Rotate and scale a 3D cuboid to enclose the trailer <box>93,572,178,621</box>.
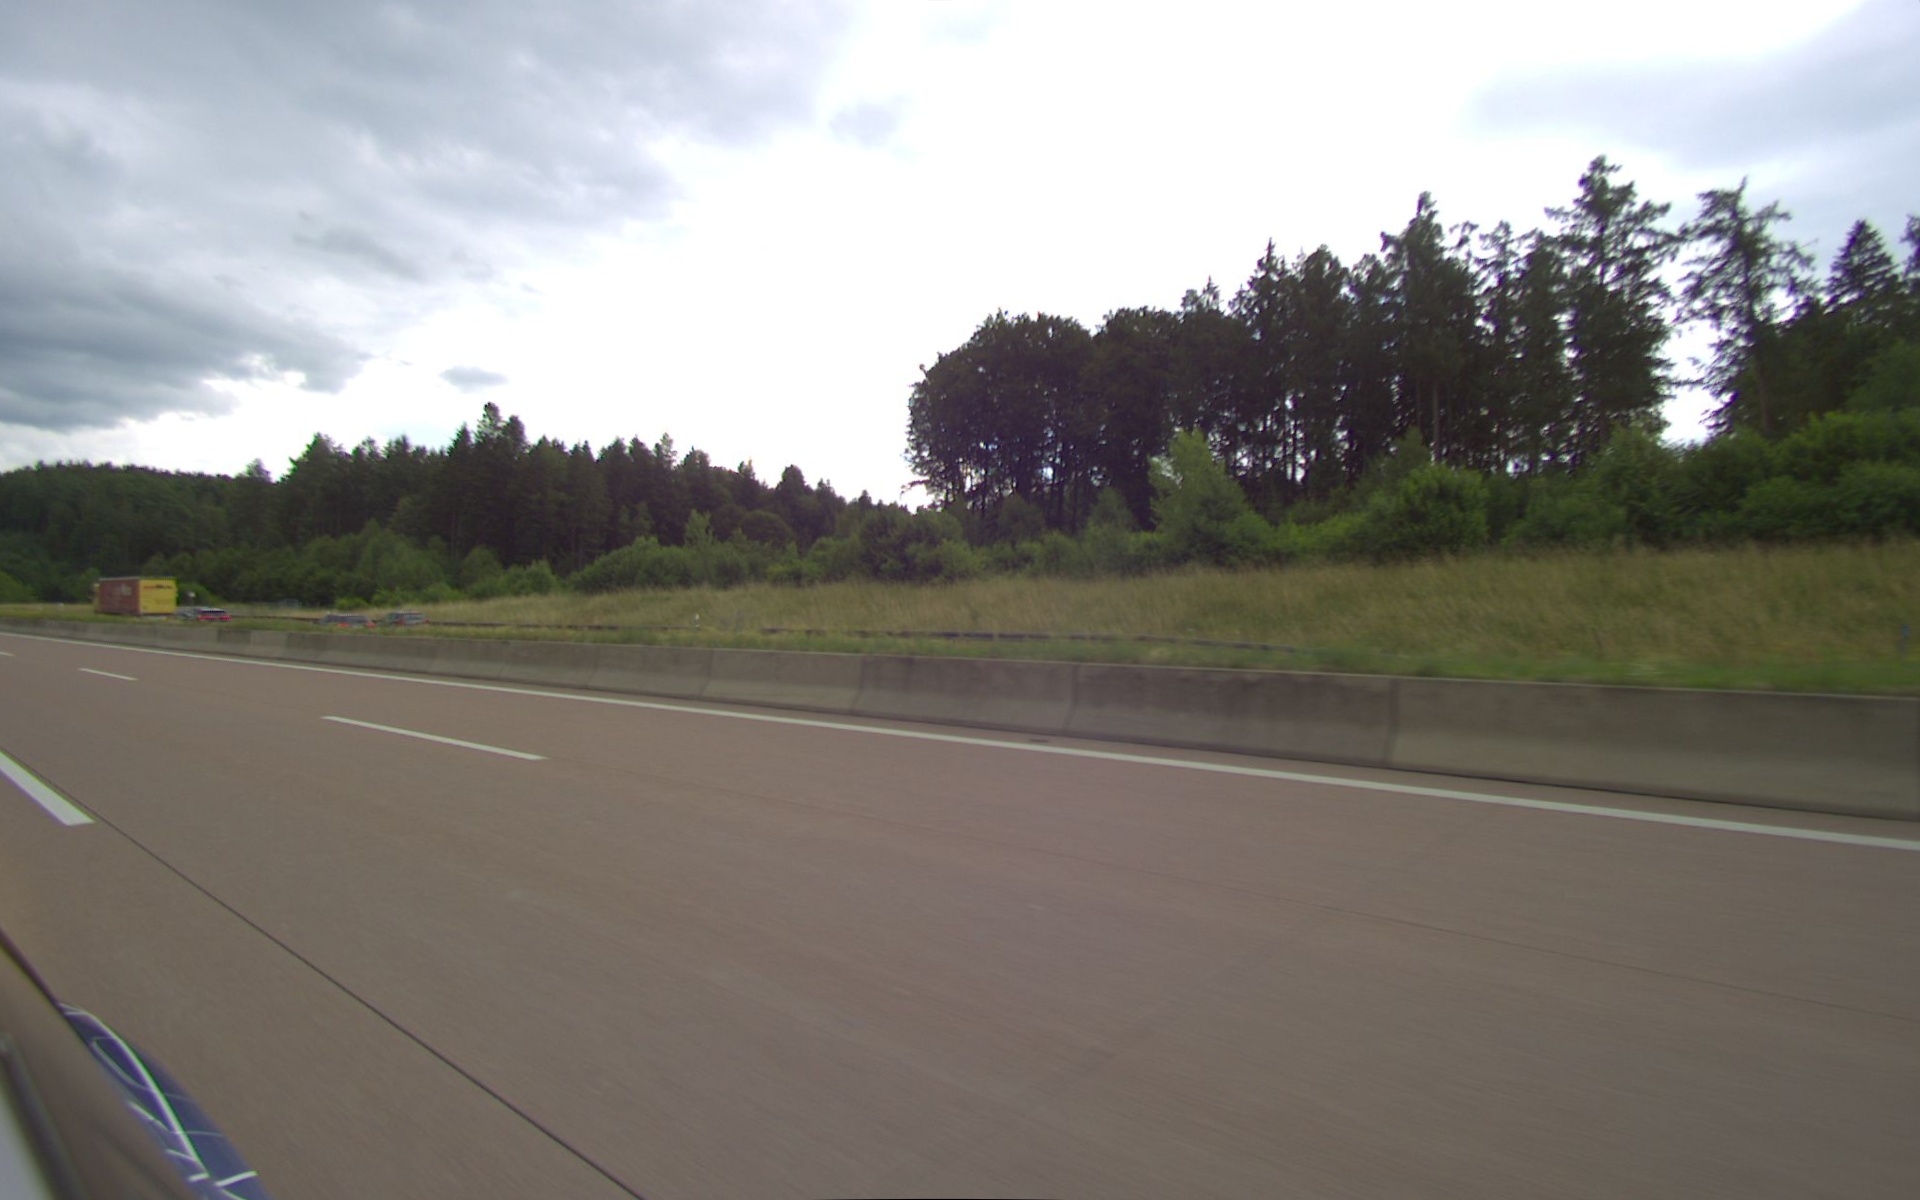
[{"bbox_3d":[-74.159,-0.245,90.863,14.513,4.072,3.004,-1,0,39],"label":"trailer"}]

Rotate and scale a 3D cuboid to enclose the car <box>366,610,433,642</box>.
[{"bbox_3d":[-30.154,1.419,54.422,4.378,1.650,1.744,-2,-1,41],"label":"car"}]

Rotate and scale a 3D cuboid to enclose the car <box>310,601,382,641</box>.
[{"bbox_3d":[-29.123,0.983,47.962,3.998,1.829,1.788,-1,-1,41],"label":"car"}]

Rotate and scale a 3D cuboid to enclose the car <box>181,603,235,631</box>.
[{"bbox_3d":[-47.920,1.032,64.454,4.376,1.650,1.745,1,1,39],"label":"car"}]

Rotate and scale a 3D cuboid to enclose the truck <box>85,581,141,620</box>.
[{"bbox_3d":[-79.955,0.064,95.551,6.051,3.609,2.983,0,0,39],"label":"truck"}]
